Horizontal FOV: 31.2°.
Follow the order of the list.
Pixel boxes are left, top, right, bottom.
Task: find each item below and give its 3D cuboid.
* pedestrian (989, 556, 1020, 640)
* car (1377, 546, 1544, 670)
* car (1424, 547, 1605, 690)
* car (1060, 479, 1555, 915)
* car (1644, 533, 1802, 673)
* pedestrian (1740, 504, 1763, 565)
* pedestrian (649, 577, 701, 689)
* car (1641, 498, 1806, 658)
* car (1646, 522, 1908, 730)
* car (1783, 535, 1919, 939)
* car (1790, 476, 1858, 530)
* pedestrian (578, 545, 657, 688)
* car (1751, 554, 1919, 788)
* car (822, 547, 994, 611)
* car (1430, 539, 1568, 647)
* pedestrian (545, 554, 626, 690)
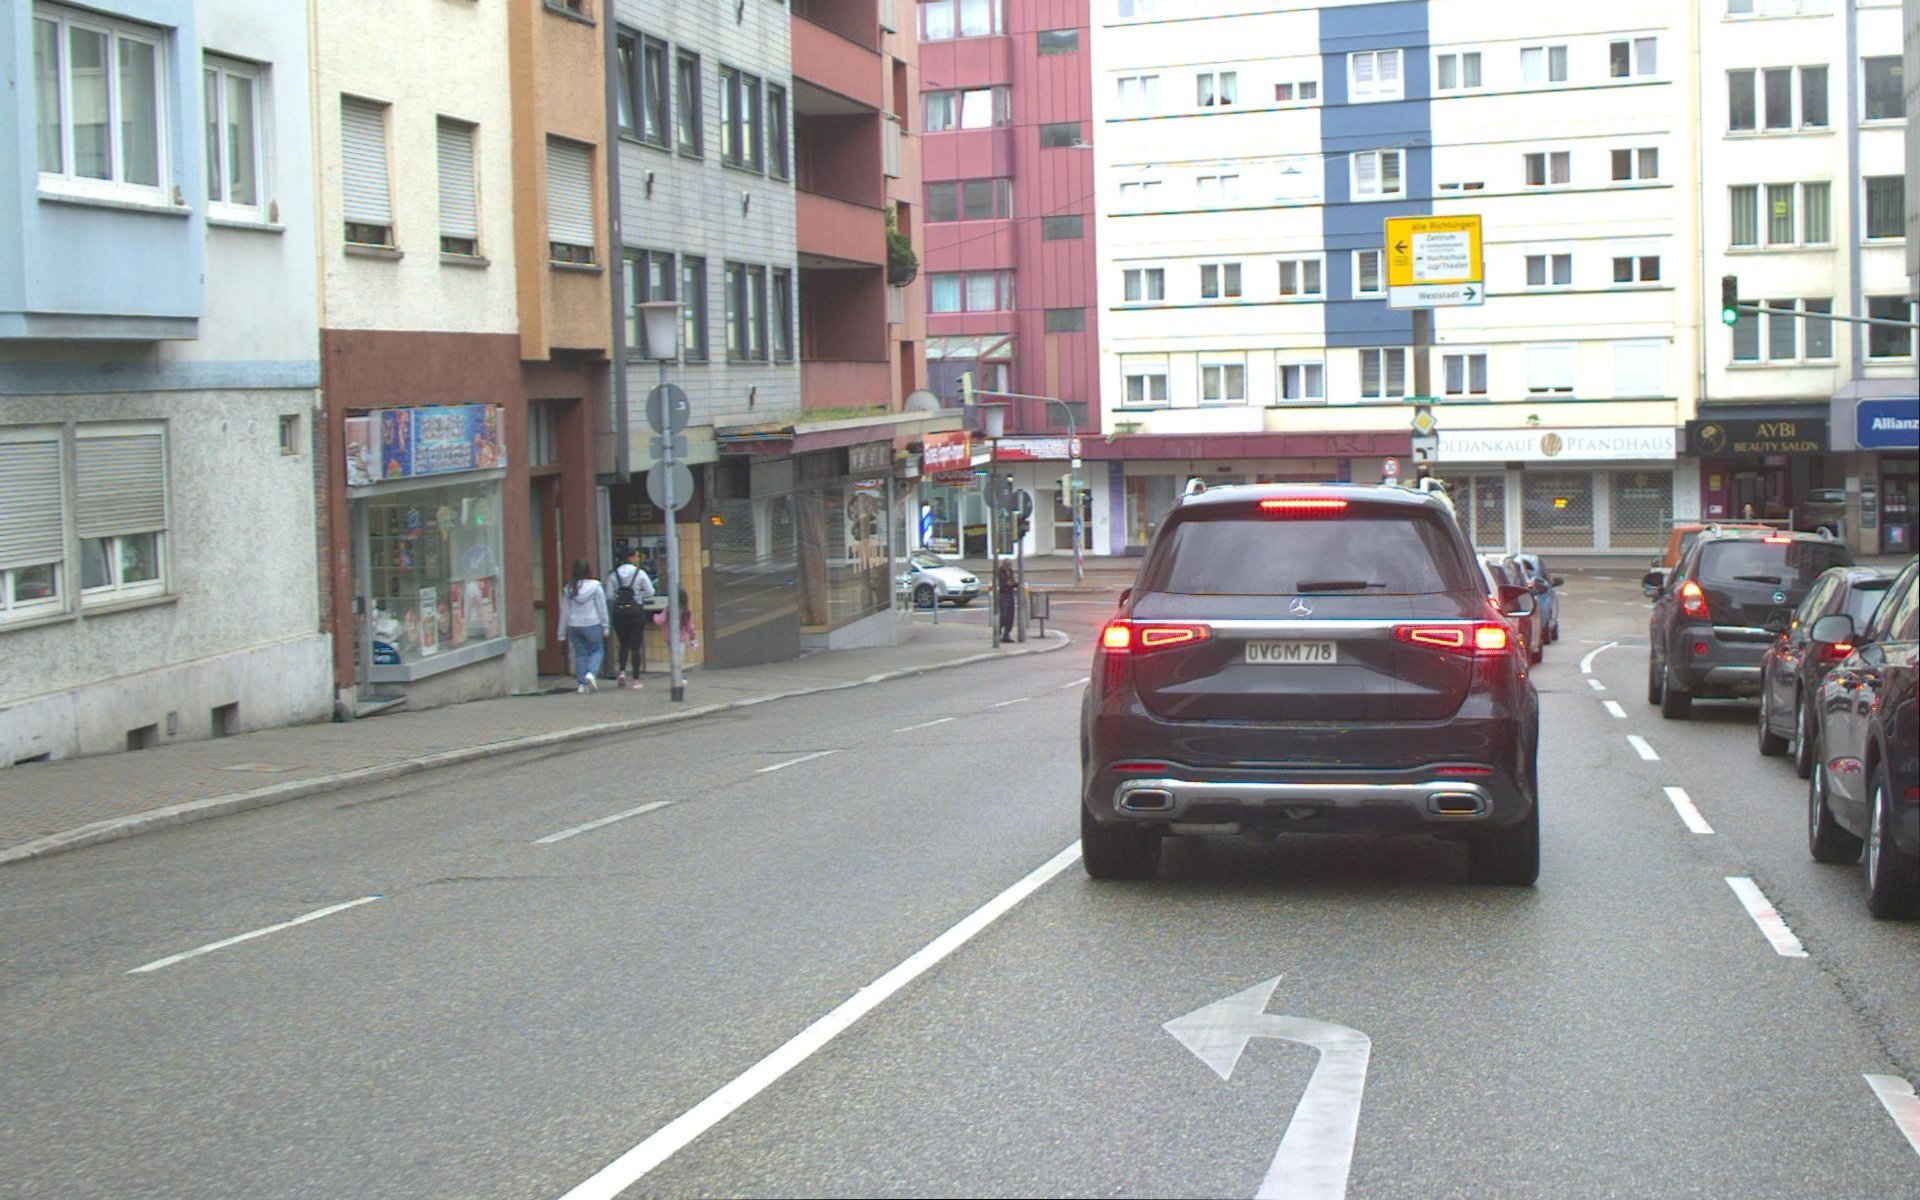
[{"bbox_3d":[0.897,-0.048,69.532,0.554,1.691,0.624,-1,1,6],"label":"pedestrian"},{"bbox_3d":[6.471,0.066,44.181,1.994,1.481,4.235,-1,1,10],"label":"car"},{"bbox_3d":[6.166,0.160,38.539,1.874,1.489,4.399,1,1,8],"label":"car"},{"bbox_3d":[1.759,0.356,16.639,2.039,1.793,4.661,1,1,8],"label":"car"},{"bbox_3d":[9.600,0.025,43.502,1.824,1.653,4.493,1,0,11],"label":"car"},{"bbox_3d":[22.647,-1.873,98.366,0.564,1.683,0.755,-1,7,16],"label":"pedestrian"},{"bbox_3d":[-3.420,0.388,41.297,0.533,1.318,0.724,1,1,1],"label":"pedestrian"},{"bbox_3d":[11.352,-0.339,50.954,2.244,2.220,5.425,1,1,13],"label":"car"},{"bbox_3d":[7.397,0.179,31.505,1.898,1.689,4.504,2,1,8],"label":"car"},{"bbox_3d":[4.817,0.534,15.214,1.824,1.554,4.200,2,1,8],"label":"car"},{"bbox_3d":[27.740,-3.107,110.341,1.798,1.664,3.997,-1,1,18],"label":"car"},{"bbox_3d":[-4.112,0.189,41.300,0.827,1.684,0.724,1,1,1],"label":"pedestrian"},{"bbox_3d":[6.630,0.450,24.147,1.689,1.472,3.999,2,1,8],"label":"car"},{"bbox_3d":[-1.378,-0.557,90.419,4.167,1.587,1.738,1,2,25],"label":"car"},{"bbox_3d":[8.146,-0.083,51.823,1.925,1.510,4.661,2,0,9],"label":"car"},{"bbox_3d":[-4.374,0.254,40.203,0.827,1.555,0.724,1,1,1],"label":"pedestrian"}]
